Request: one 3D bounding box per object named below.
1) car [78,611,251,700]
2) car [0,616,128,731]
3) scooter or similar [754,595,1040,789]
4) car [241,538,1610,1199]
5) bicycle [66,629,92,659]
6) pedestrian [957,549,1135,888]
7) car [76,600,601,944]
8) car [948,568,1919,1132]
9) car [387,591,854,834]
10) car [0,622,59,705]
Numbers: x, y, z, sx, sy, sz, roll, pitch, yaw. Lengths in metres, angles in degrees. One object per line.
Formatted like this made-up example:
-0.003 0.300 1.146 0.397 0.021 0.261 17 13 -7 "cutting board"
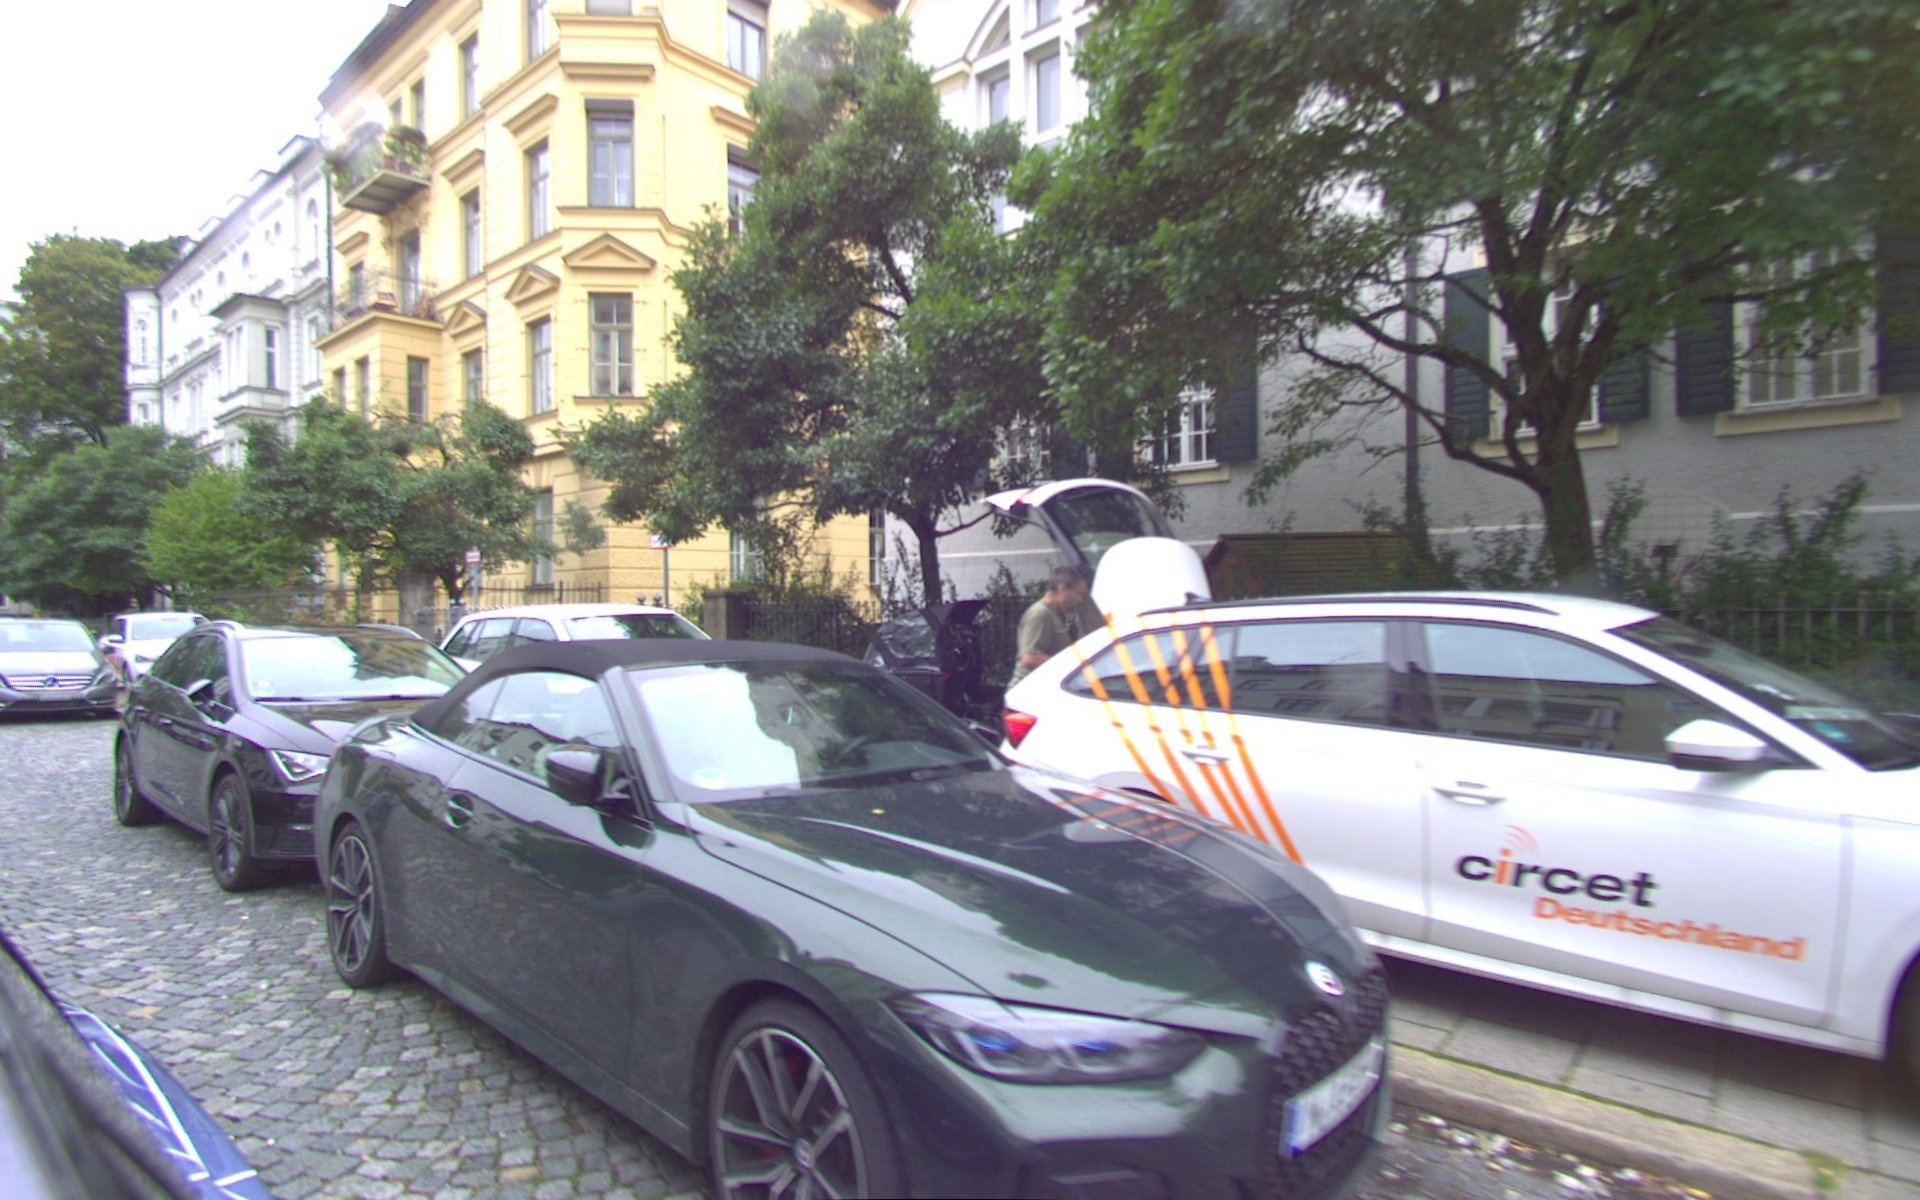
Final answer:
-15.414 0.998 19.537 4.387 1.477 1.823 -1 0 41 "car"
-14.730 1.069 15.860 4.186 1.598 1.723 -1 -2 38 "car"
-0.641 0.754 9.255 2.633 1.535 1.051 -2 -1 41 "scooter or similar"
-0.764 0.734 3.555 4.911 1.466 1.795 -1 -3 42 "car"
-33.273 1.667 38.222 1.694 1.059 0.458 -1 3 41 "bicycle"
0.470 0.581 5.439 0.582 1.662 0.758 -2 0 42 "pedestrian"
-4.451 0.867 6.920 4.534 1.615 1.722 -1 -2 40 "car"
2.236 0.636 3.923 4.560 1.427 1.757 -1 0 42 "car"
-3.095 0.762 8.694 4.463 1.548 1.722 -1 1 40 "car"
-19.128 1.162 19.497 5.128 1.481 1.851 -1 -2 39 "car"
